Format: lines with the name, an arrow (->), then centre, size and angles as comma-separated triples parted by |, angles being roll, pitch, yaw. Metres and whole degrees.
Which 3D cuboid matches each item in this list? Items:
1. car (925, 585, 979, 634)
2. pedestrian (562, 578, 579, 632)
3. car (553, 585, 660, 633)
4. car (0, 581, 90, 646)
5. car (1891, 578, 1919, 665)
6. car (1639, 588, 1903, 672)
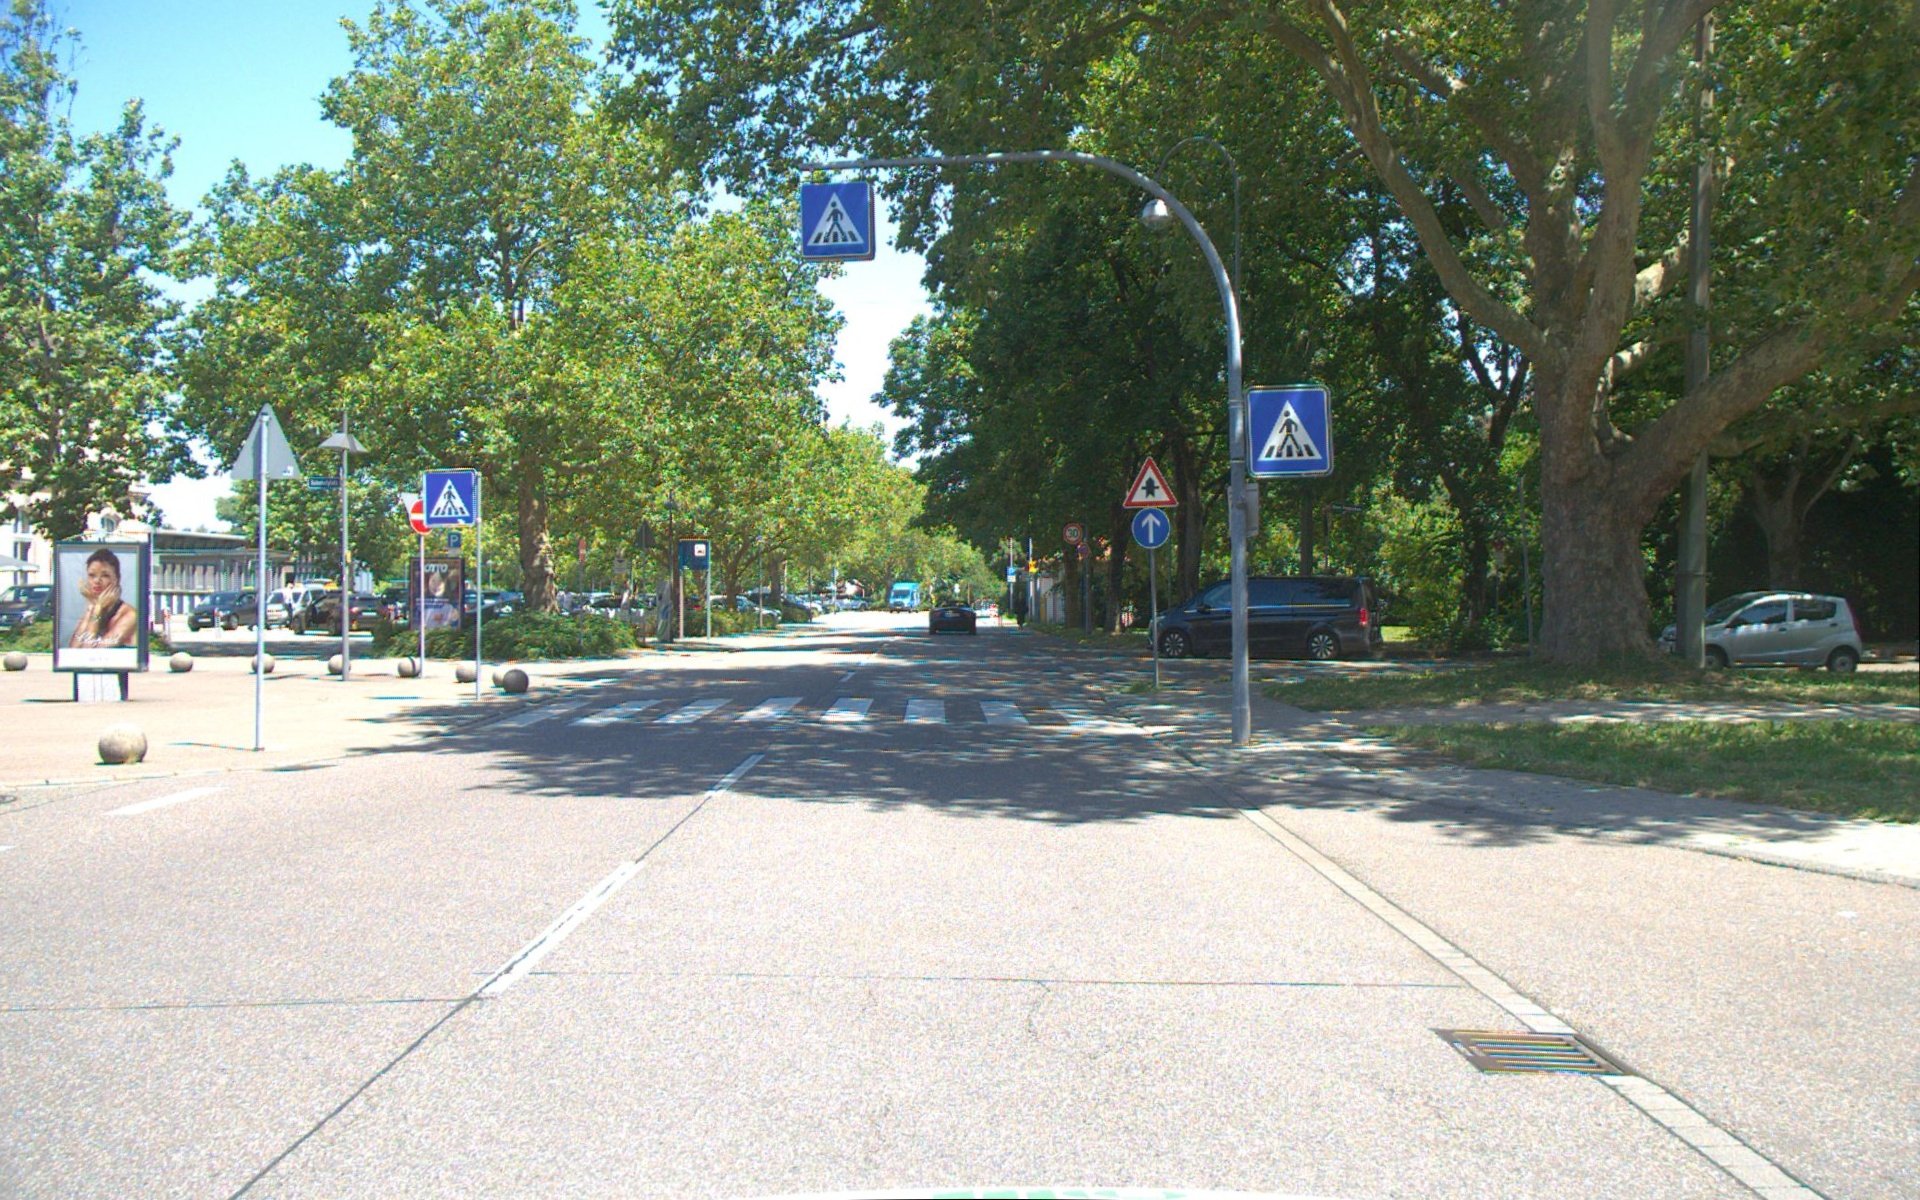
car -> -0.286, 0.375, 65.819 | 2.081, 1.881, 4.048 | 0, 0, 0
pedestrian -> -14.933, 0.200, 63.392 | 0.614, 2.049, 0.568 | 0, -2, -14
car -> -13.917, 0.361, 65.016 | 3.926, 1.813, 1.989 | 0, -1, -19
car -> -30.327, 0.467, 53.848 | 1.953, 2.049, 3.999 | -1, -1, -1
car -> 20.379, 0.383, 30.996 | 4.723, 1.635, 2.001 | -1, 0, 2
car -> 15.304, 0.547, 31.385 | 4.020, 1.492, 2.001 | -1, 0, 2
